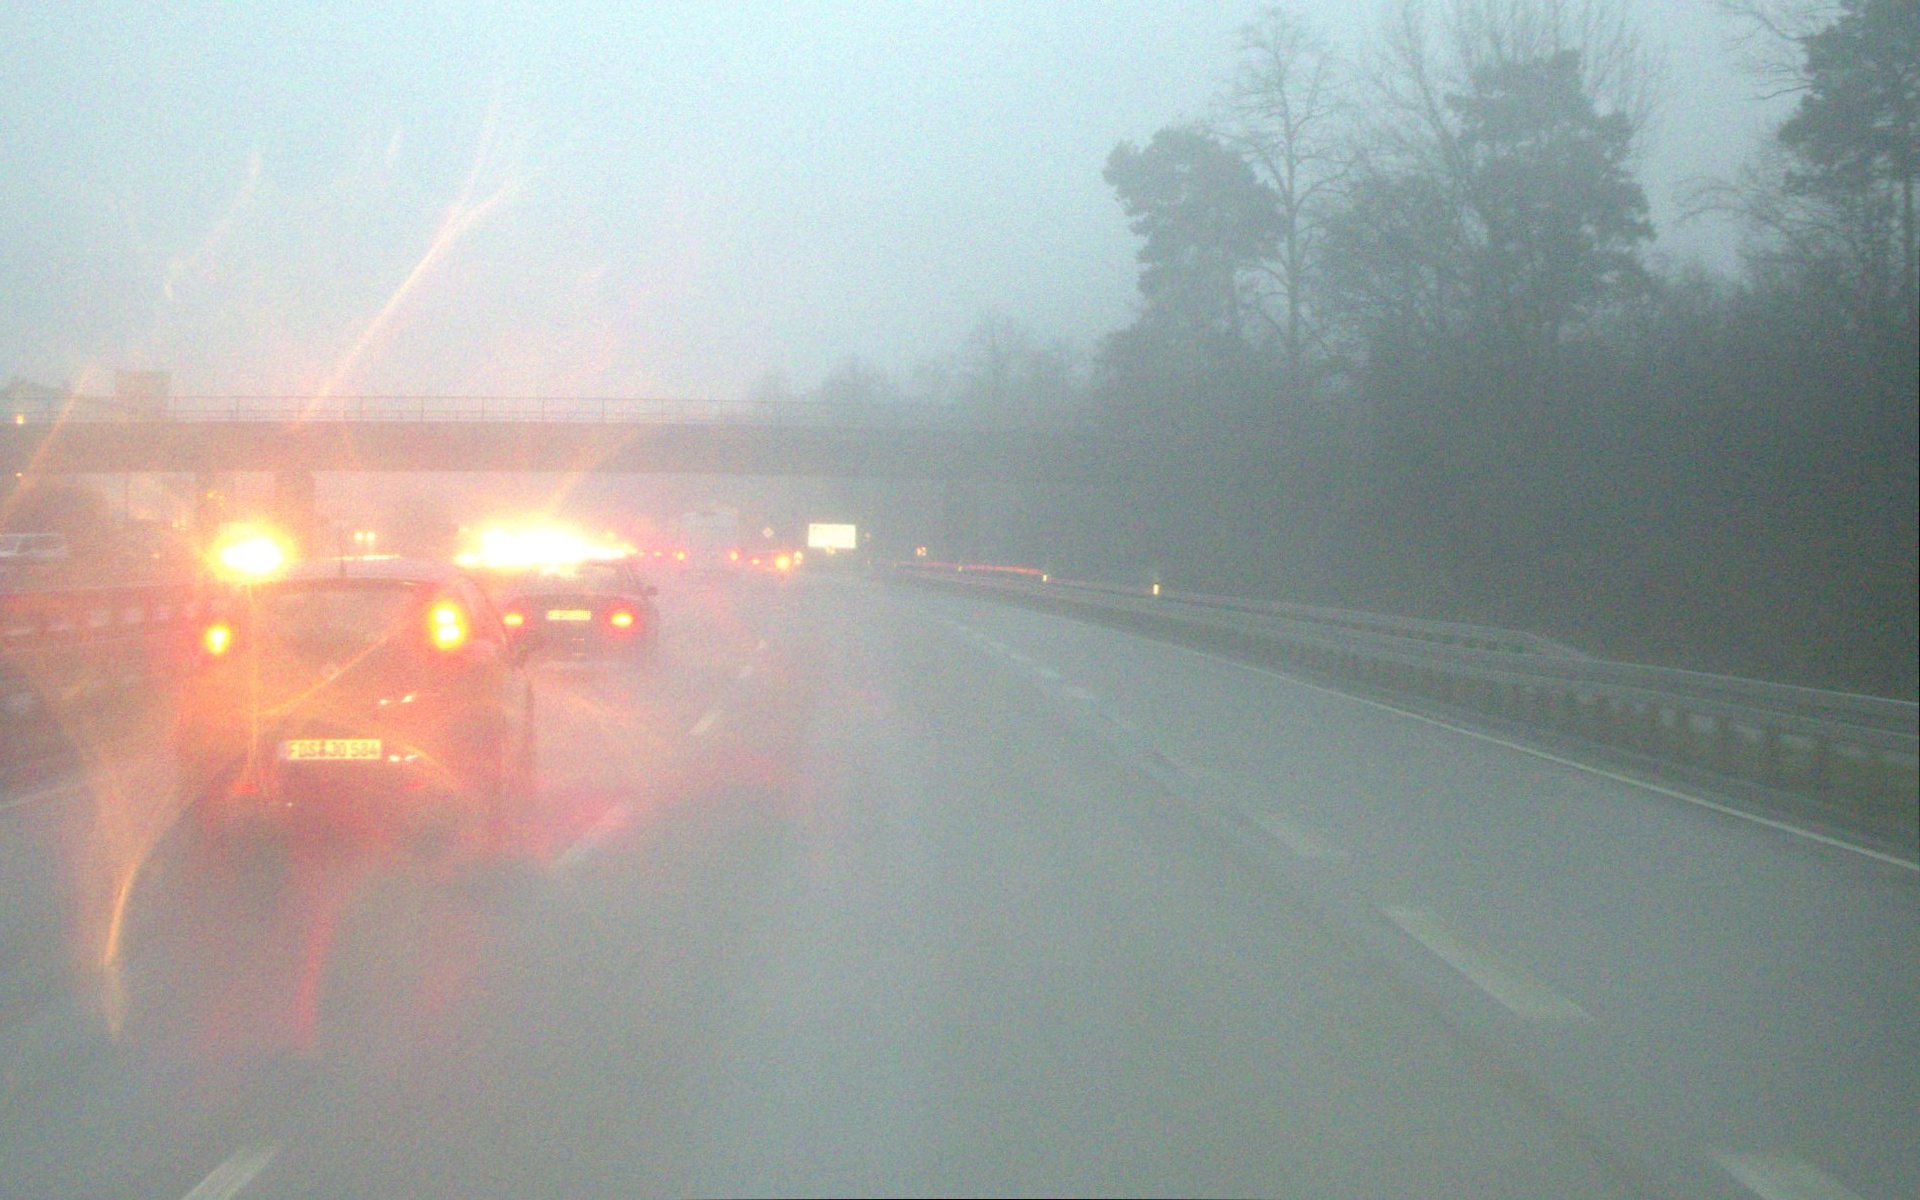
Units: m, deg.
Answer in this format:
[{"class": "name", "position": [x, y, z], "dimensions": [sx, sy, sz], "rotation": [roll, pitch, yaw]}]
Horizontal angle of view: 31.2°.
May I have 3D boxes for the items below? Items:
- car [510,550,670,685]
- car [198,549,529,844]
[{"class": "car", "position": [-4.491, 0.177, 42.208], "dimensions": [1.775, 1.529, 4.703], "rotation": [-1, 1, -4]}, {"class": "car", "position": [-3.293, 0.475, 19.464], "dimensions": [1.527, 1.411, 3.480], "rotation": [3, 1, -6]}]
